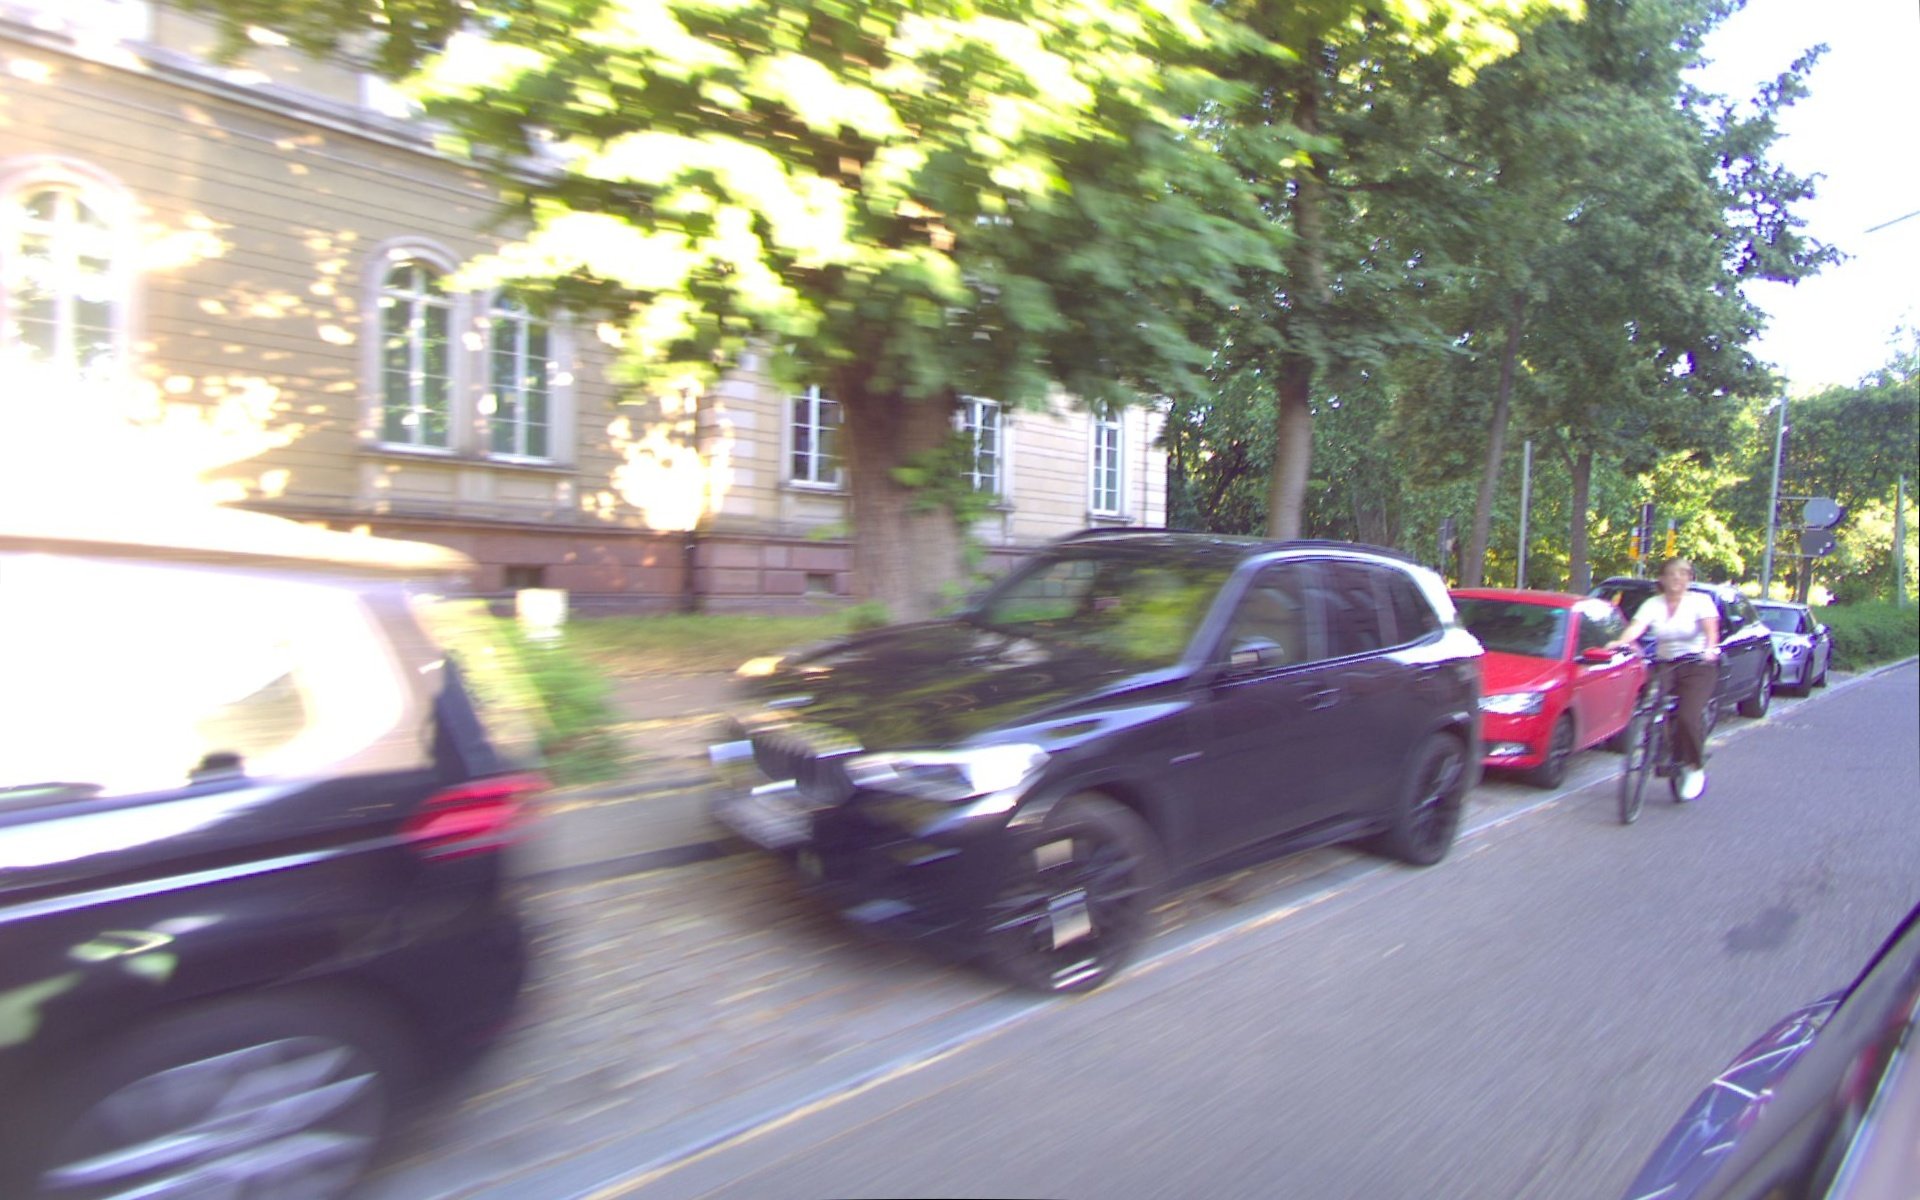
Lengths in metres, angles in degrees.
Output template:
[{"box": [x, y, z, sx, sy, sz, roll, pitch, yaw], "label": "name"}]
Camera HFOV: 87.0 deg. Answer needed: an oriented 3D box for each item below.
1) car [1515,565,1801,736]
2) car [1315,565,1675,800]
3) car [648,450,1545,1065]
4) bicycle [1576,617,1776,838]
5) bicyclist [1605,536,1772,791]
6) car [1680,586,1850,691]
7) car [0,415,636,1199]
[{"box": [8.737, 0.444, 12.503, 4.615, 1.708, 1.884, -1, 3, -42], "label": "car"}, {"box": [4.893, 0.513, 9.013, 3.905, 1.608, 1.725, -2, 3, -45], "label": "car"}, {"box": [1.075, 0.399, 5.263, 4.859, 1.835, 1.809, -1, 3, -40], "label": "car"}, {"box": [5.083, 0.787, 7.119, 2.174, 1.268, 0.752, 0, 2, -45], "label": "bicycle"}, {"box": [5.122, 0.393, 7.110, 1.021, 1.633, 0.752, 0, 1, -44], "label": "bicyclist"}, {"box": [13.358, 0.531, 16.717, 3.935, 1.456, 1.725, -2, 3, -45], "label": "car"}, {"box": [-3.031, 0.514, 1.738, 4.424, 1.703, 1.726, -1, 3, -43], "label": "car"}]
